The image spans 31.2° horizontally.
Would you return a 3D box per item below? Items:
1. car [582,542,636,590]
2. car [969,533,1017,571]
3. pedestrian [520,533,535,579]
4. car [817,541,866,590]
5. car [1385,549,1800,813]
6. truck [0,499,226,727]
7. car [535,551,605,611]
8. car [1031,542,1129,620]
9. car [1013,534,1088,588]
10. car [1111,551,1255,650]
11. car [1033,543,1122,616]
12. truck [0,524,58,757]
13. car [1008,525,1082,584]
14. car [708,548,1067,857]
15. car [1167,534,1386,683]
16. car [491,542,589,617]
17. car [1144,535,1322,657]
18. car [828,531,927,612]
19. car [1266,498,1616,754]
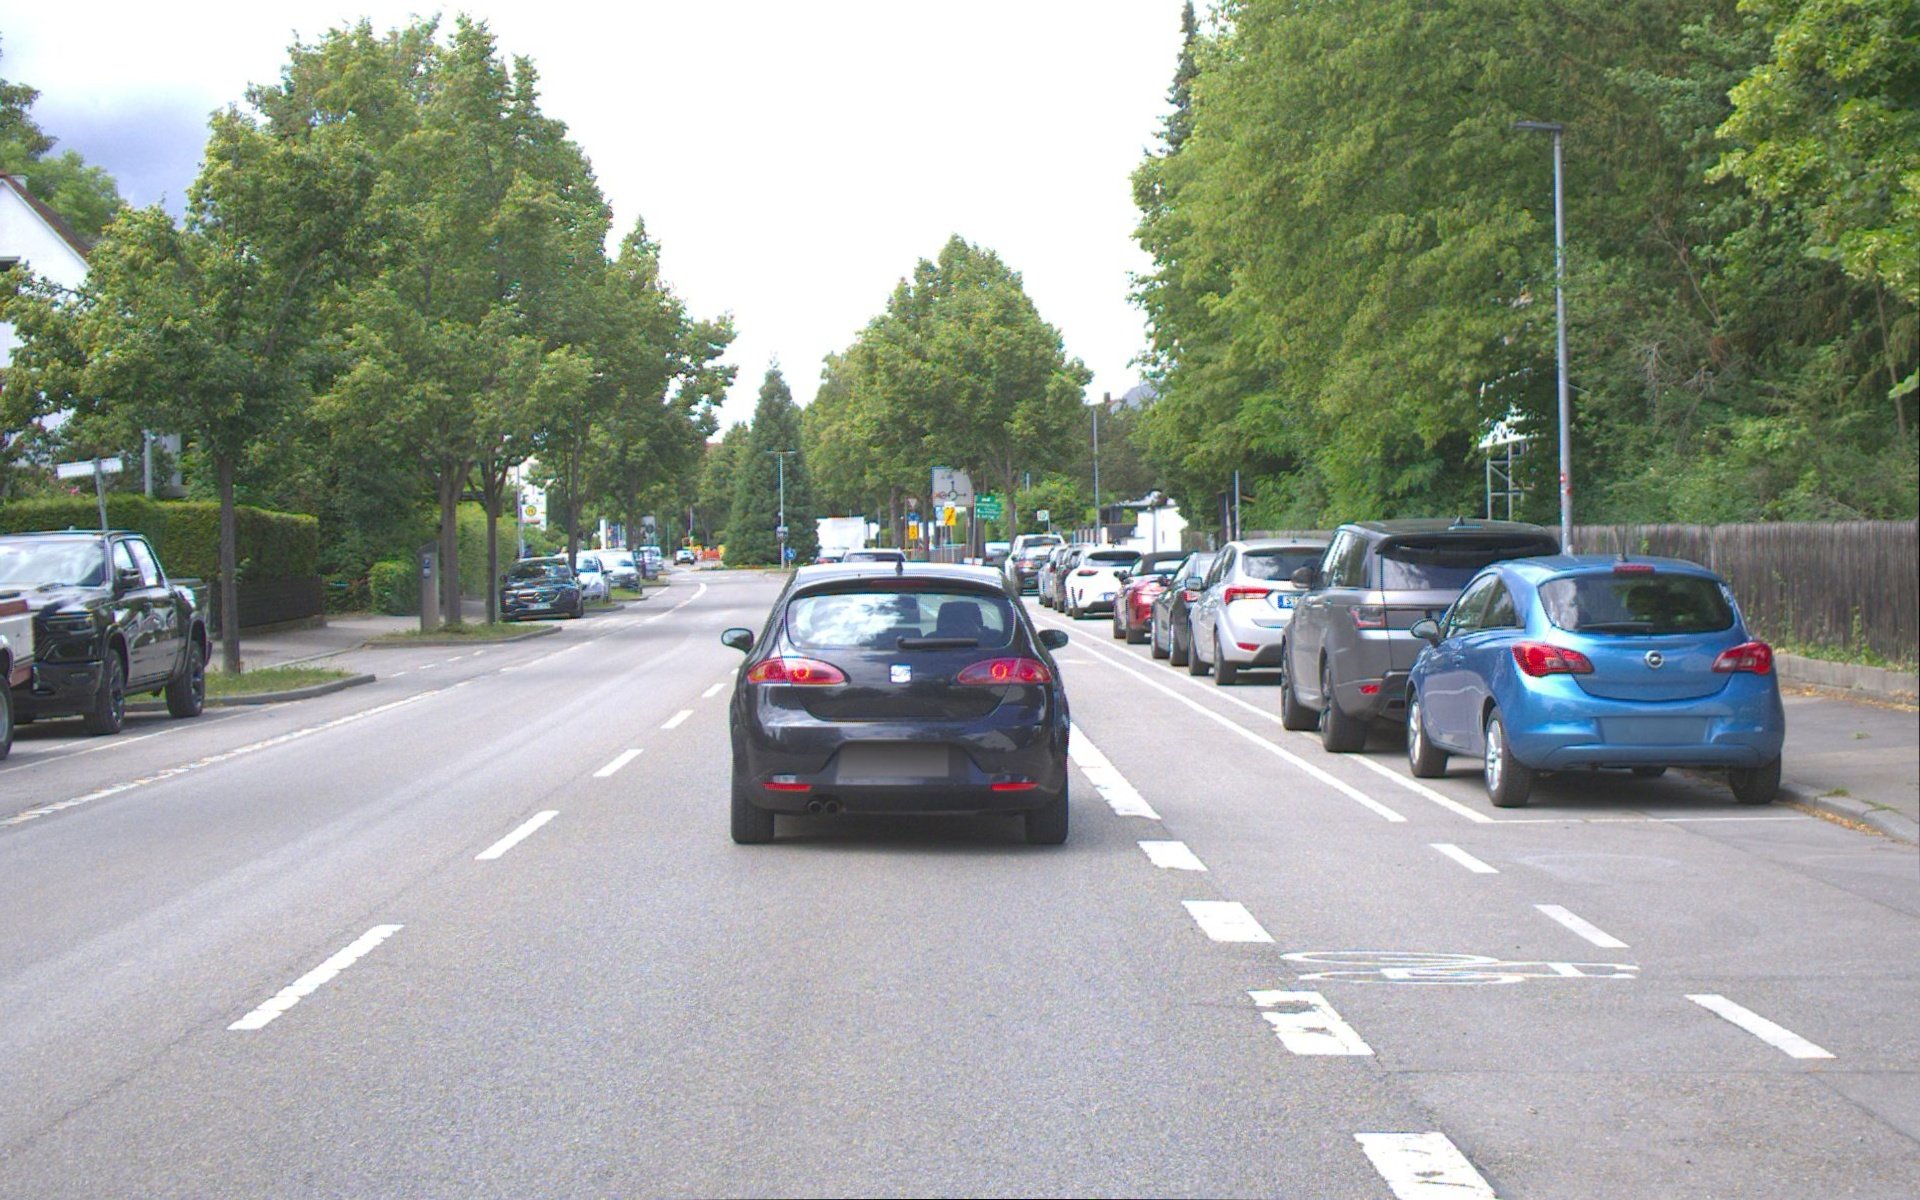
[{"bbox_3d":[-11.760,-1.153,115.475,1.677,1.546,4.273,-2,1,-5],"label":"car"},{"bbox_3d":[1.316,-1.908,137.348,1.611,1.372,4.387,-2,0,-3],"label":"car"},{"bbox_3d":[-17.358,-1.767,137.920,0.503,1.800,0.671,-2,1,-3],"label":"pedestrian"},{"bbox_3d":[-5.013,-1.453,144.717,1.993,2.007,4.001,-1,1,-2],"label":"car"},{"bbox_3d":[3.859,0.440,21.591,1.684,1.496,3.922,0,1,-3],"label":"car"},{"bbox_3d":[-9.043,0.079,33.908,2.423,2.036,5.996,-1,1,-2],"label":"truck"},{"bbox_3d":[-11.074,-0.551,97.714,1.718,1.607,3.911,-2,1,-3],"label":"car"},{"bbox_3d":[2.399,-0.395,69.690,1.768,1.505,4.031,-1,1,-1],"label":"car"},{"bbox_3d":[2.444,-1.078,94.025,1.863,1.412,4.603,-1,1,-1],"label":"car"},{"bbox_3d":[3.463,-0.029,54.151,1.859,1.408,4.444,1,2,-1],"label":"car"},{"bbox_3d":[2.545,-0.477,75.457,1.702,1.505,4.538,0,1,-1],"label":"car"},{"bbox_3d":[-8.669,0.388,26.373,1.967,1.862,5.665,-3,1,-1],"label":"truck"},{"bbox_3d":[2.471,-1.340,100.604,1.900,1.637,4.117,-2,1,-2],"label":"car"},{"bbox_3d":[-0.376,0.468,18.733,1.732,1.481,4.000,1,1,-1],"label":"car"},{"bbox_3d":[3.545,0.049,39.191,1.862,1.584,4.422,-1,1,-3],"label":"car"},{"bbox_3d":[-10.127,-0.535,83.150,2.095,1.641,5.039,-2,1,-5],"label":"car"},{"bbox_3d":[3.508,-0.074,44.886,1.816,1.510,4.680,0,1,-2],"label":"car"},{"bbox_3d":[-1.755,-0.623,71.969,1.993,1.607,4.001,-1,1,-2],"label":"car"},{"bbox_3d":[3.636,0.159,26.873,1.993,1.809,4.827,0,1,-1],"label":"car"}]
